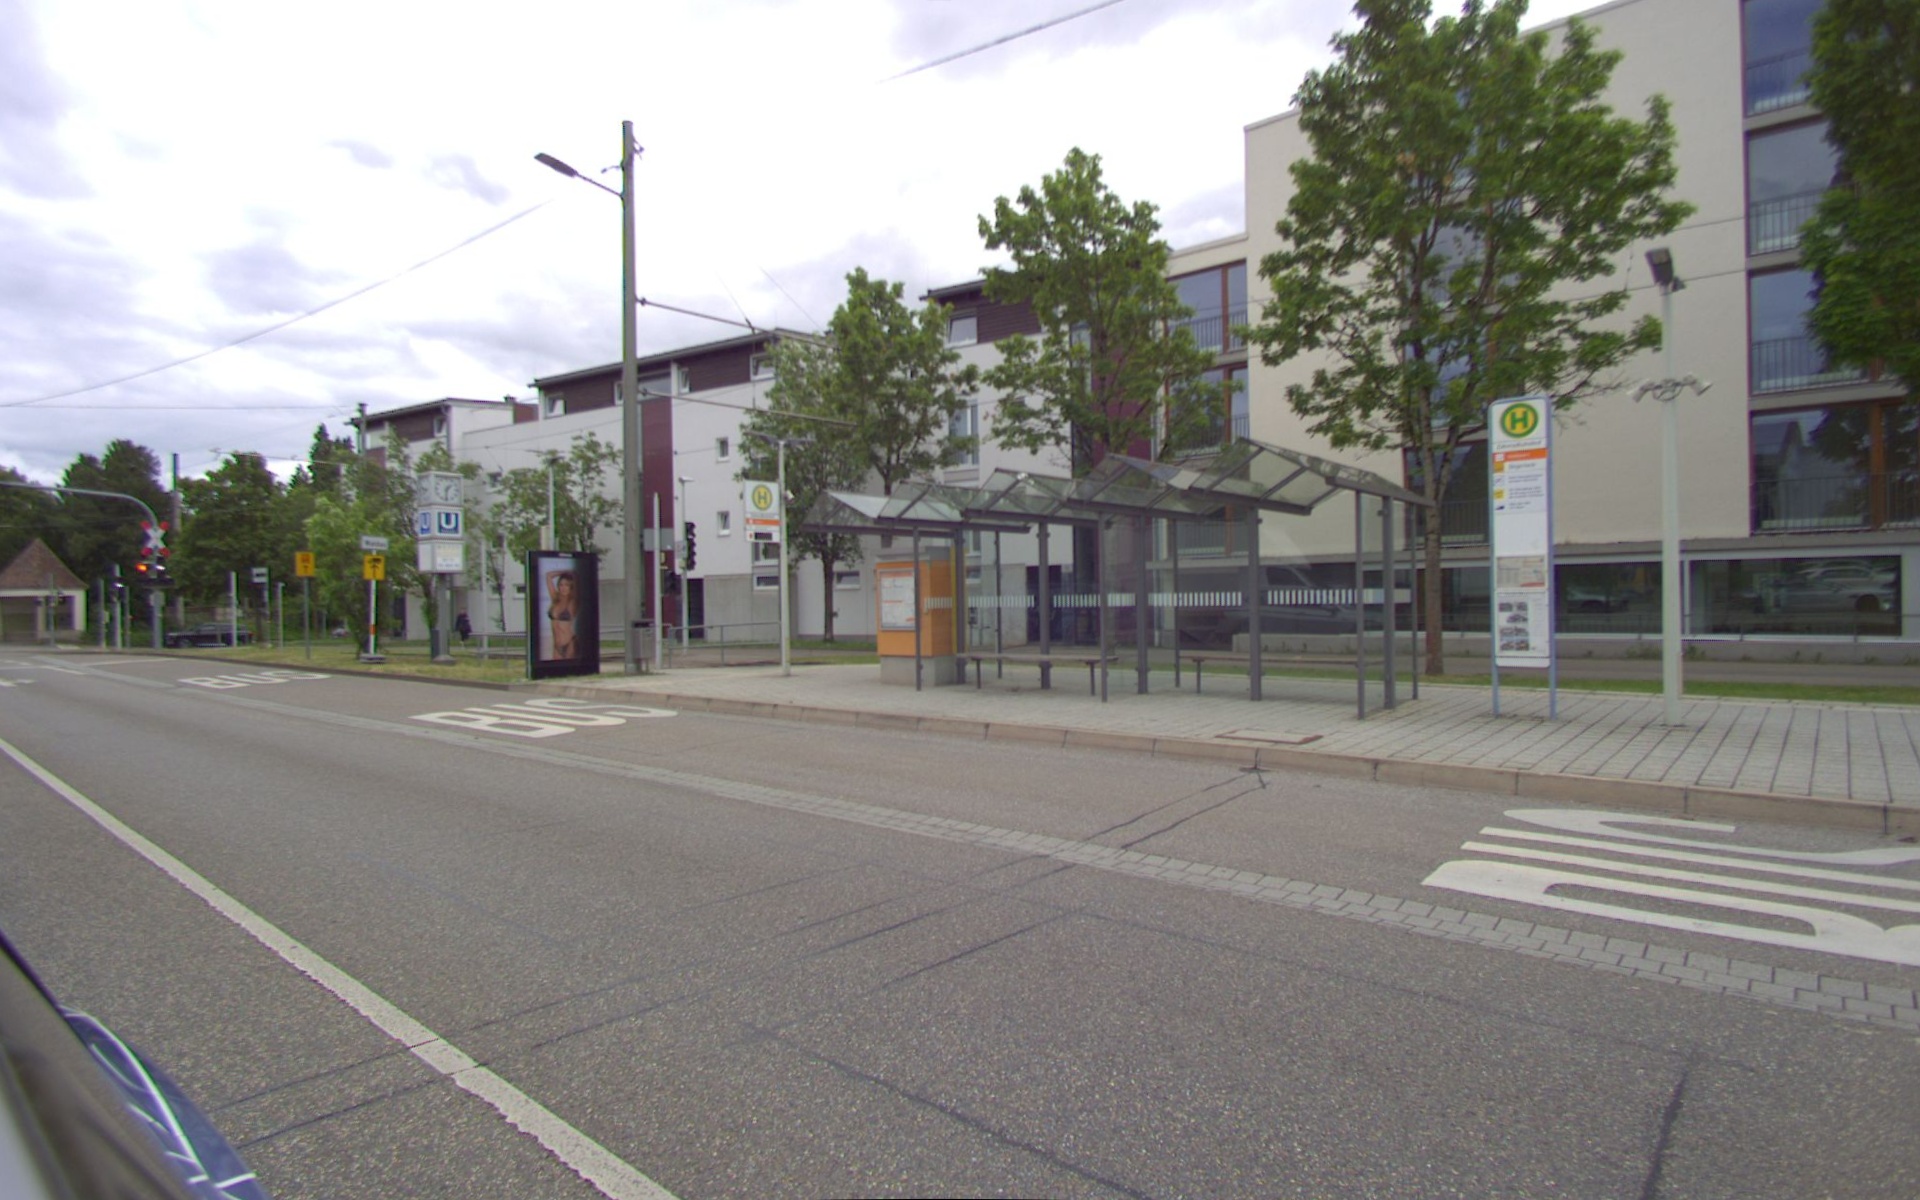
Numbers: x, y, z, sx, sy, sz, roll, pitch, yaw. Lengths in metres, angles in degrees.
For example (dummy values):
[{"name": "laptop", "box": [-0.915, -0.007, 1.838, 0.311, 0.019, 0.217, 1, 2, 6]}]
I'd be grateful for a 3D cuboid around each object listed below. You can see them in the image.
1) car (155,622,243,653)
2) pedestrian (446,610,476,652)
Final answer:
[{"name": "car", "box": [-46.544, 2.260, 61.962, 1.925, 1.719, 3.950, -1, 0, 37]}, {"name": "pedestrian", "box": [-19.669, 1.226, 39.914, 0.778, 1.607, 0.773, -1, 0, 32]}]
